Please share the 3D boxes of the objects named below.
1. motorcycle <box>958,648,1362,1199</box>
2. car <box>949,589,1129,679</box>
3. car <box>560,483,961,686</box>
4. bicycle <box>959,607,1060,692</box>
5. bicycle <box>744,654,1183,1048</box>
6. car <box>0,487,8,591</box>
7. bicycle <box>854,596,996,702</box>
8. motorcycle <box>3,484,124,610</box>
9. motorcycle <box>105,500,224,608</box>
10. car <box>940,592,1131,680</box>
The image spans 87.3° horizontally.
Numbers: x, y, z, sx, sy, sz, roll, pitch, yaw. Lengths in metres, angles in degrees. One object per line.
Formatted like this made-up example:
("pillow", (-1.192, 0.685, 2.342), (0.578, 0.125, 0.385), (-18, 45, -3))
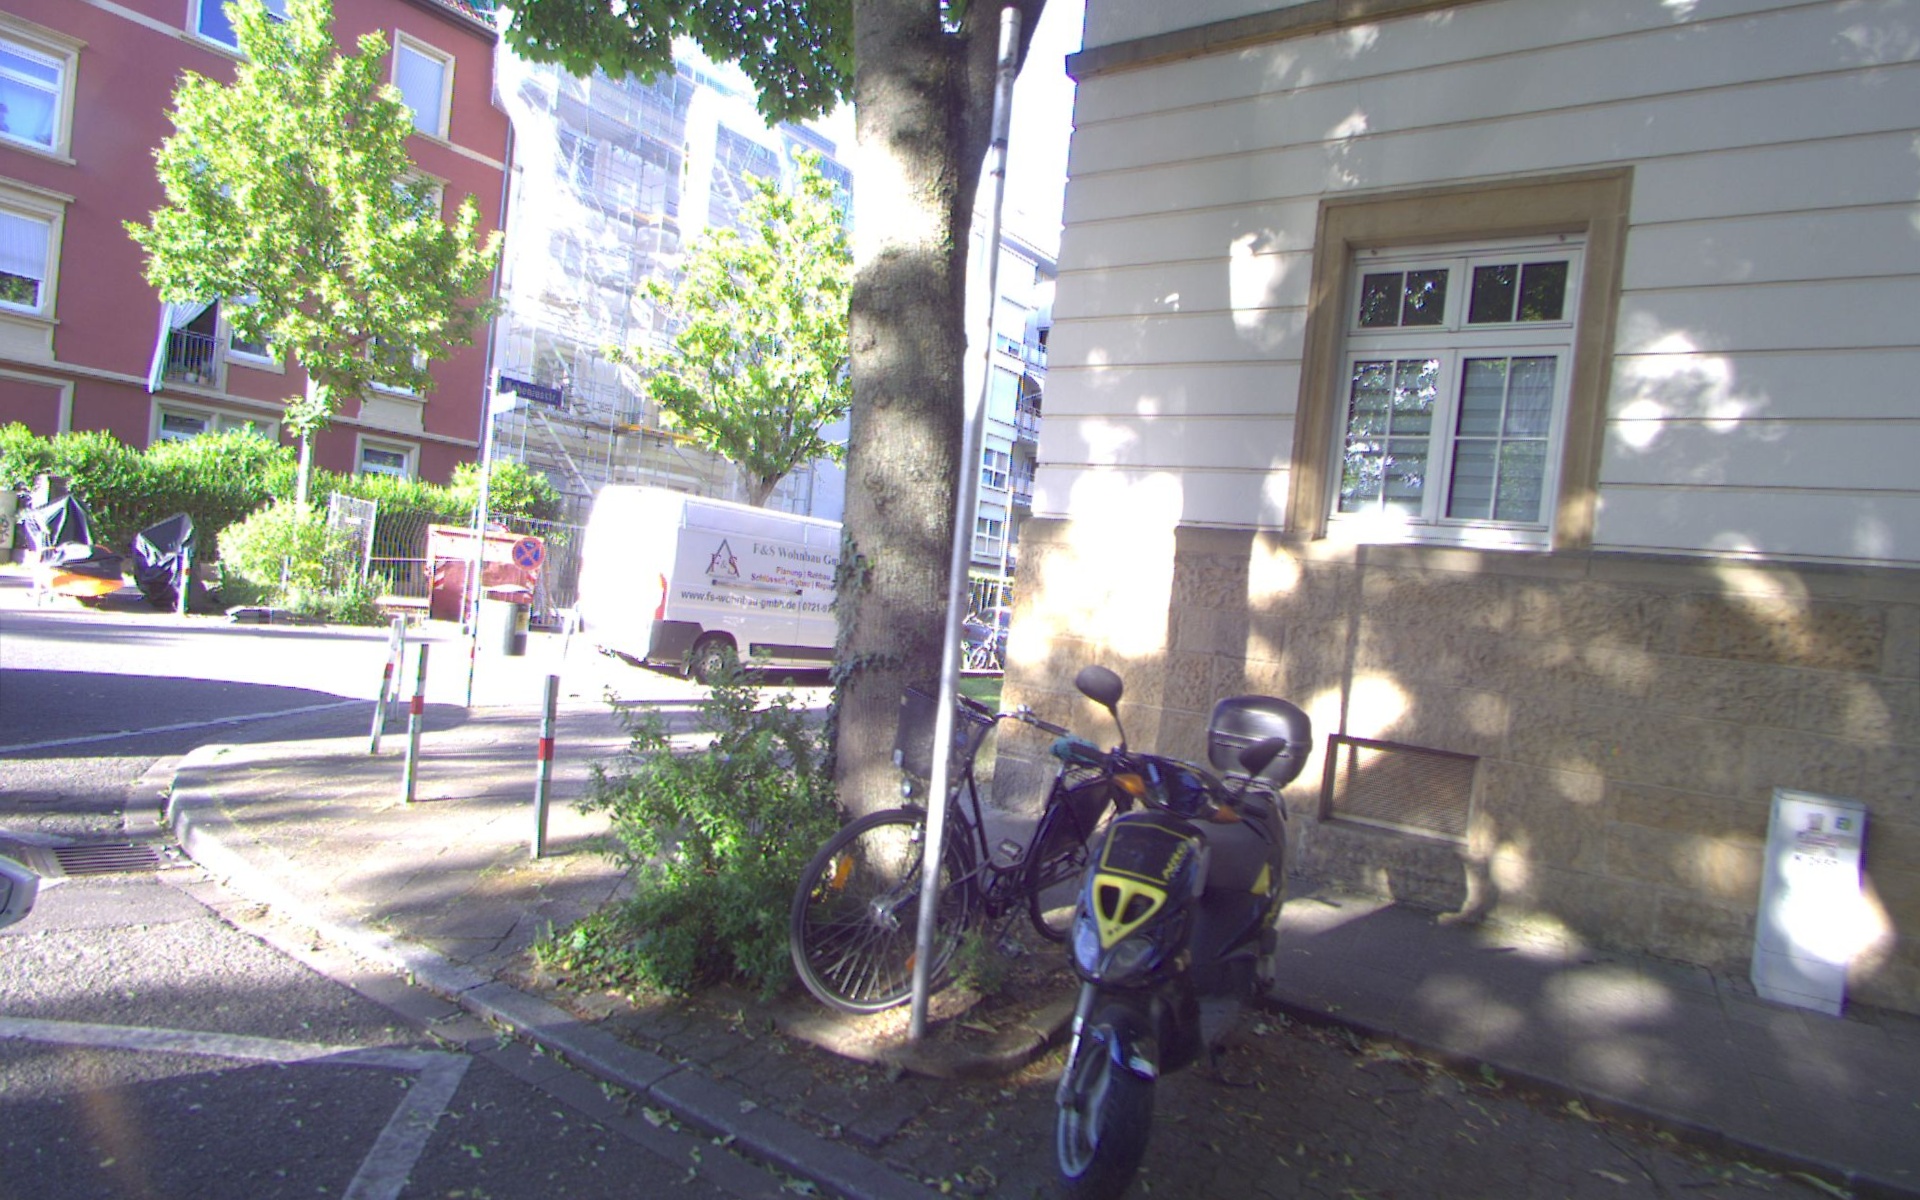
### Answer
("motorcycle", (0.784, 0.849, 3.323), (0.666, 1.229, 1.850), (8, 4, 28))
("car", (1.674, 0.733, 20.162), (1.700, 1.482, 3.871), (7, 0, 36))
("car", (-2.760, -0.109, 15.293), (2.273, 2.499, 5.636), (7, 1, 40))
("bicycle", (0.856, 0.847, 16.817), (0.467, 1.307, 1.859), (7, 1, 44))
("bicycle", (0.106, 0.831, 3.859), (1.785, 1.177, 0.428), (4, 3, -43))
("car", (-7.528, -0.132, 6.188), (1.622, 1.502, 3.503), (6, 1, -31))
("bicycle", (-0.451, 0.686, 13.618), (1.857, 1.307, 0.631), (5, 1, -42))
("motorcycle", (-12.831, -0.780, 14.364), (2.584, 1.545, 0.870), (8, 3, 40))
("motorcycle", (-12.028, -0.711, 15.176), (2.506, 1.423, 0.867), (6, 2, 40))
("car", (1.604, 0.763, 20.211), (1.764, 1.457, 3.982), (6, 0, 39))
